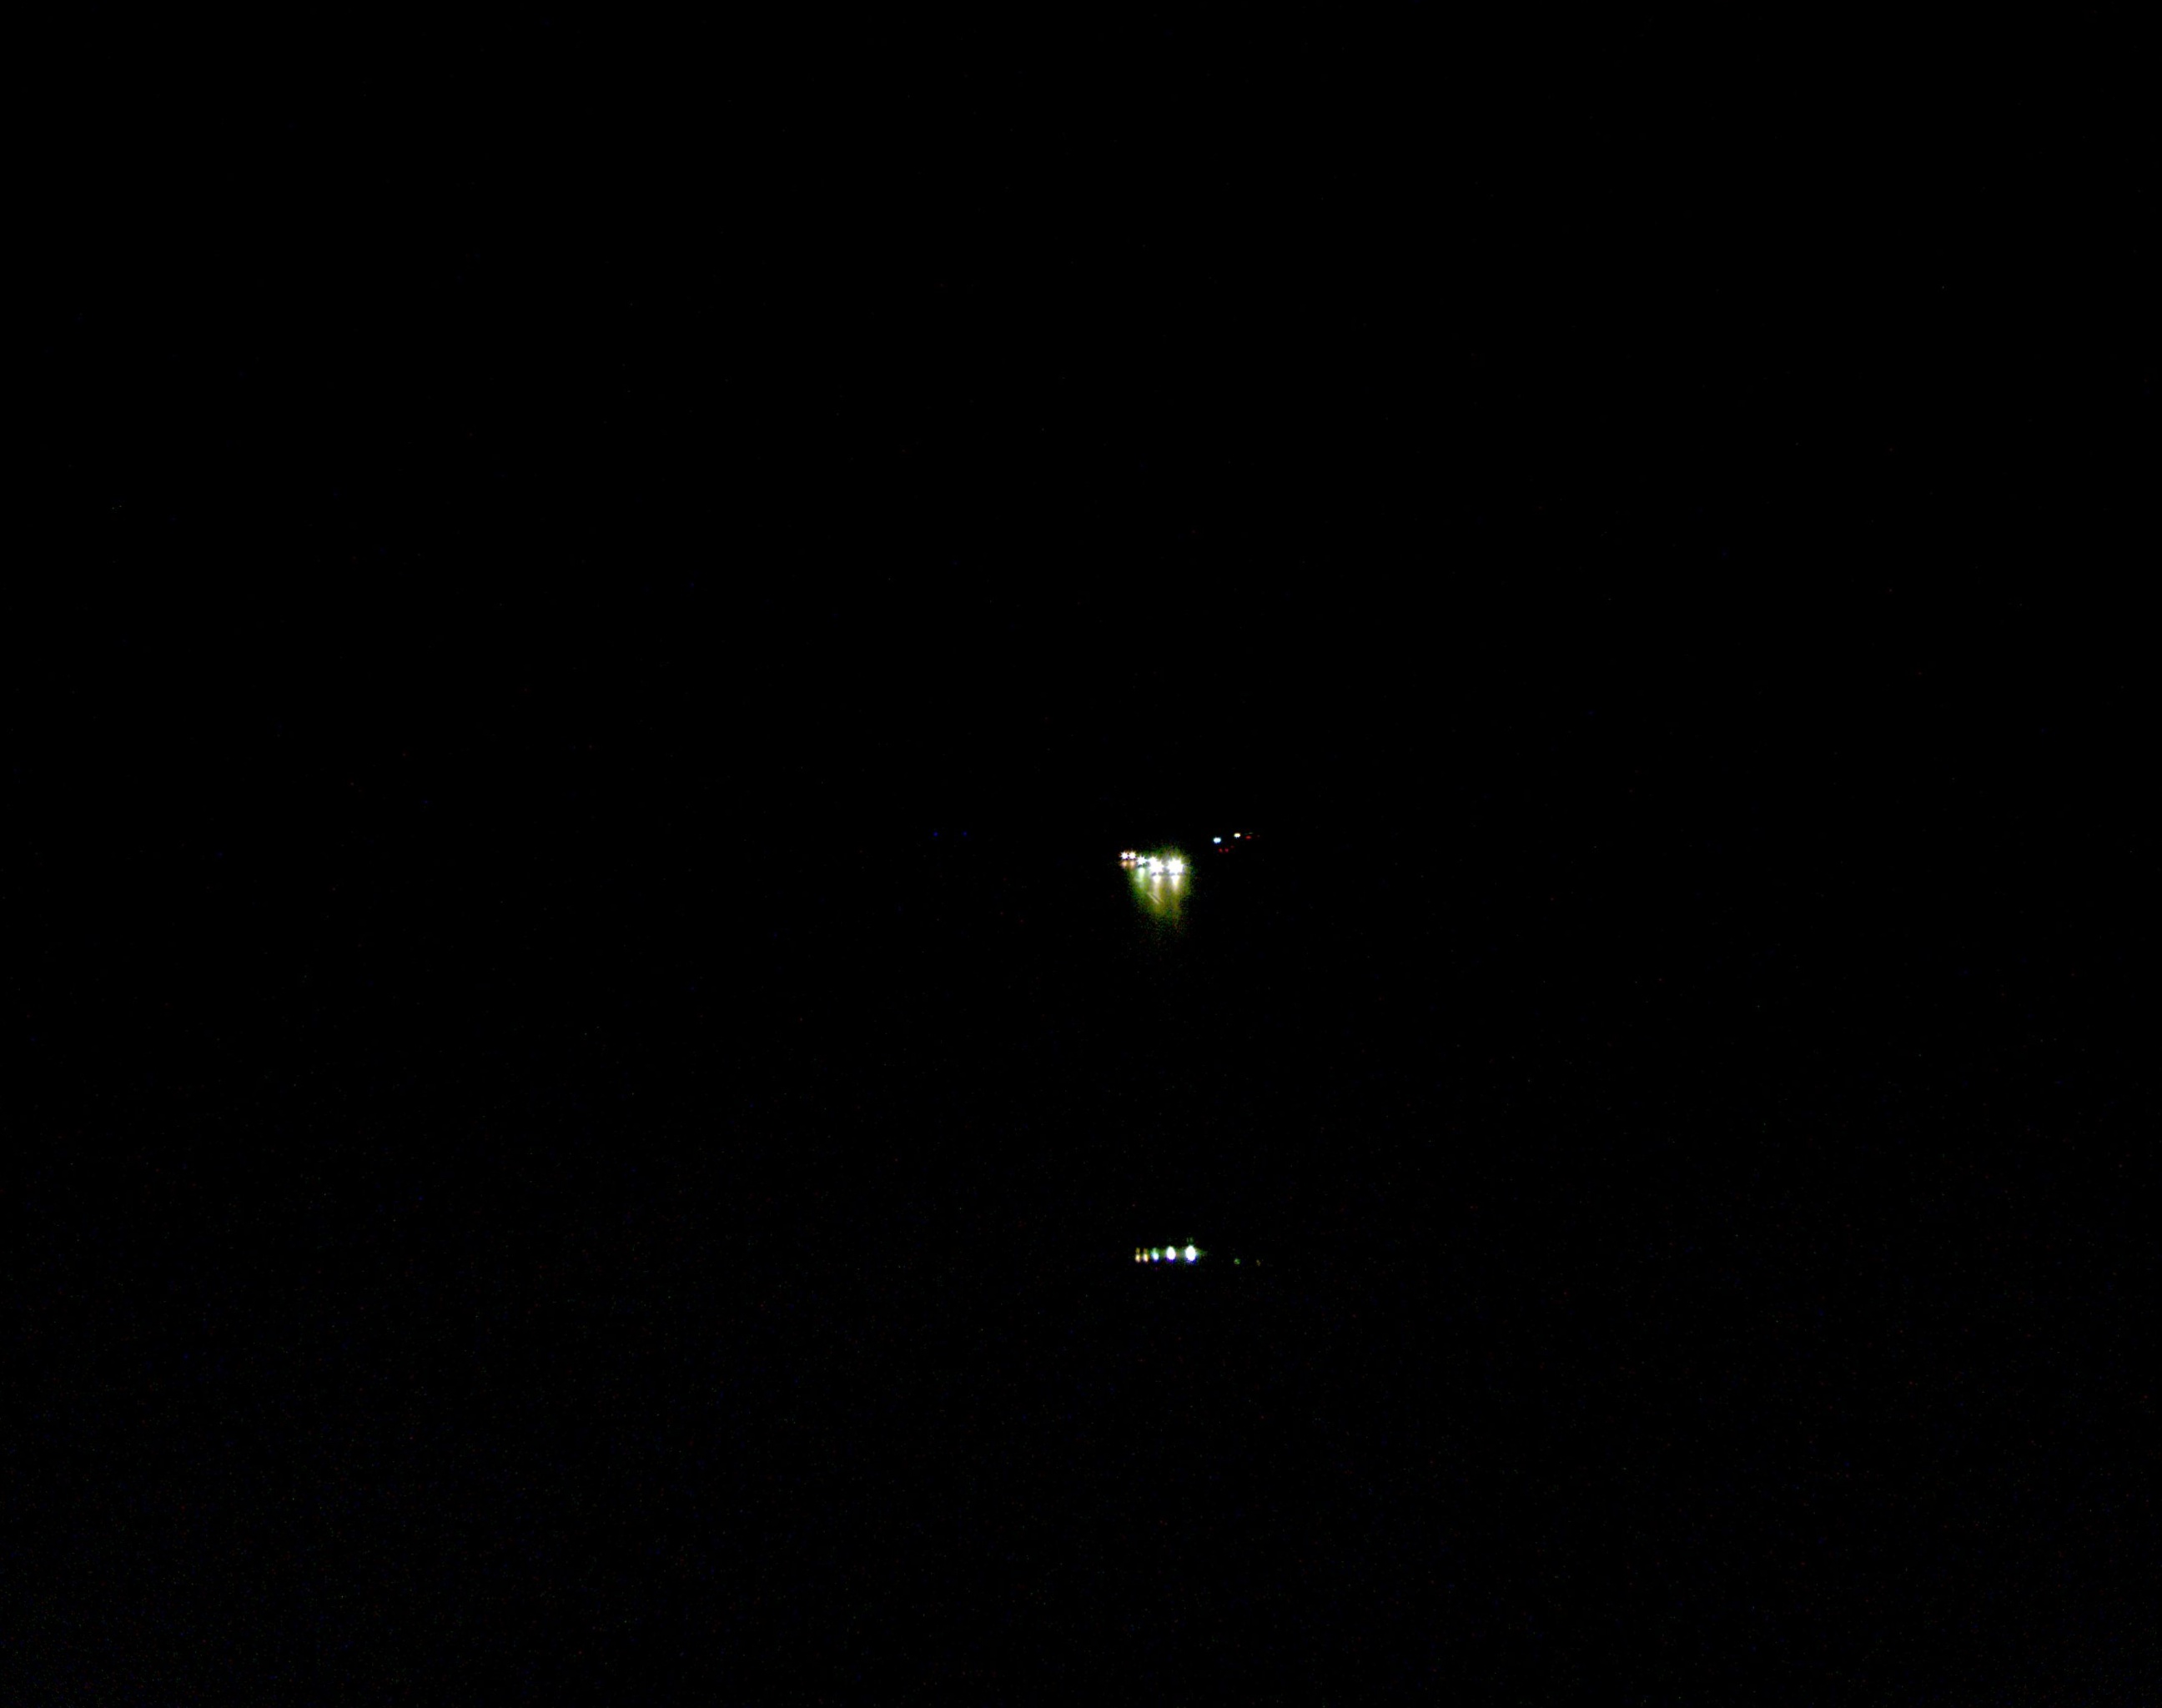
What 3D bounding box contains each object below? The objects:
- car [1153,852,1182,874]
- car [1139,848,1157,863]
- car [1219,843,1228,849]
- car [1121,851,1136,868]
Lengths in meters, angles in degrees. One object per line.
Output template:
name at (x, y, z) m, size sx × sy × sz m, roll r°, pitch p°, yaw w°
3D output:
car at (6.122, 0.602, 53.471) m, size 1.832 × 1.404 × 4.002 m, roll -2°, pitch 1°, yaw 9°
car at (7.739, 0.192, 88.039) m, size 1.998 × 1.456 × 3.999 m, roll -3°, pitch 2°, yaw 3°
car at (39.017, -2.192, 208.536) m, size 1.998 × 1.843 × 4.078 m, roll -1°, pitch 0°, yaw 5°
car at (9.455, 1.039, 150.698) m, size 2.532 × 2.889 × 6.228 m, roll -2°, pitch 2°, yaw 8°
